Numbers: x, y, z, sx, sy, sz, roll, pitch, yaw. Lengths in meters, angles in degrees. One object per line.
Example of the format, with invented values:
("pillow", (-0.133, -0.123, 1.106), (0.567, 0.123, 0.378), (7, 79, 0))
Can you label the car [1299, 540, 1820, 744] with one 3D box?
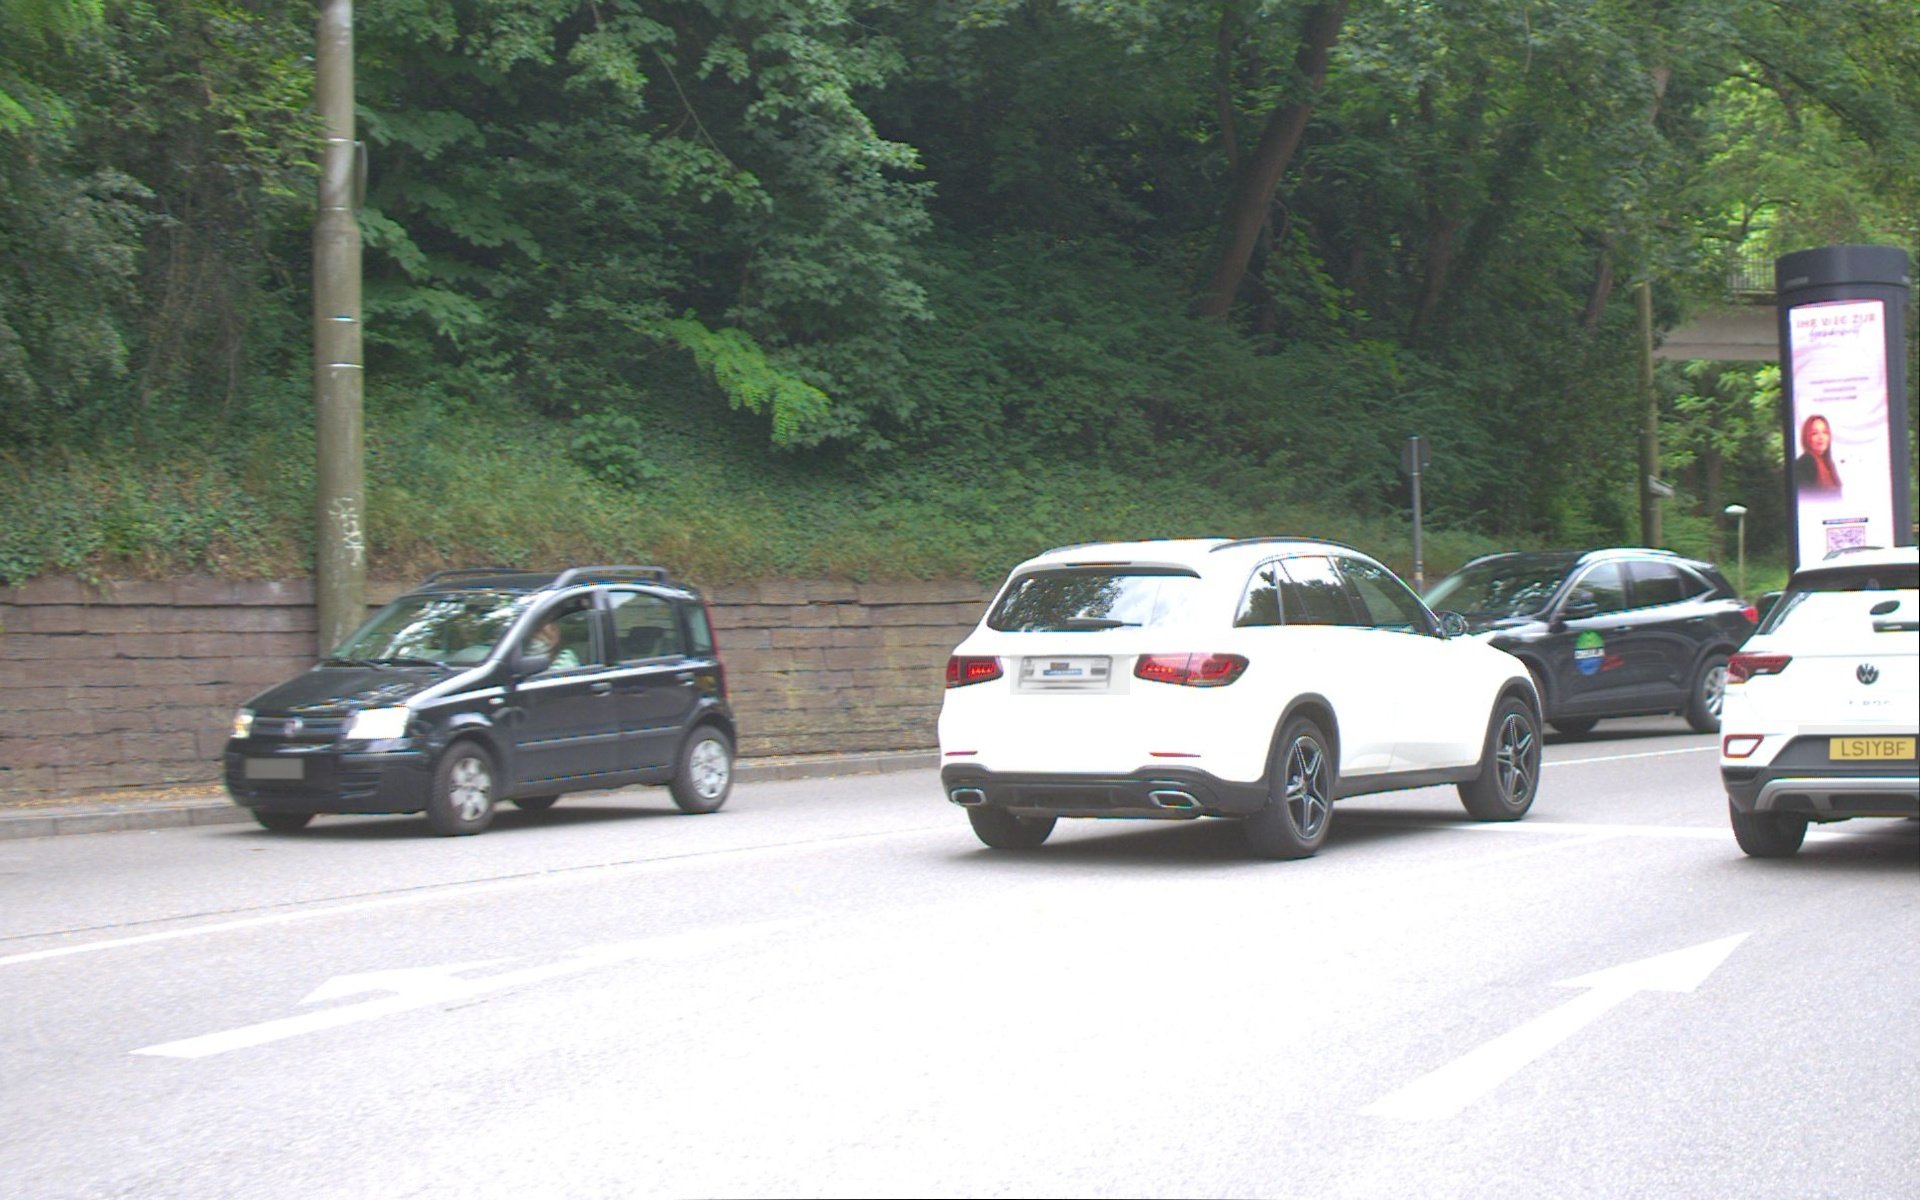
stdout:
("car", (5.248, 0.331, 29.764), (4.636, 1.619, 1.759), (-1, -1, -38))

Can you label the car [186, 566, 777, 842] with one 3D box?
("car", (-2.812, 0.569, 20.879), (1.509, 1.520, 3.653), (0, 0, 34))

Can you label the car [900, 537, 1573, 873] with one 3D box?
("car", (1.677, 0.472, 18.955), (1.862, 1.600, 4.663), (0, 1, 30))

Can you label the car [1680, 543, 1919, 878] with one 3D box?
("car", (5.403, 0.482, 17.858), (1.758, 1.547, 4.329), (-1, 1, 34))
